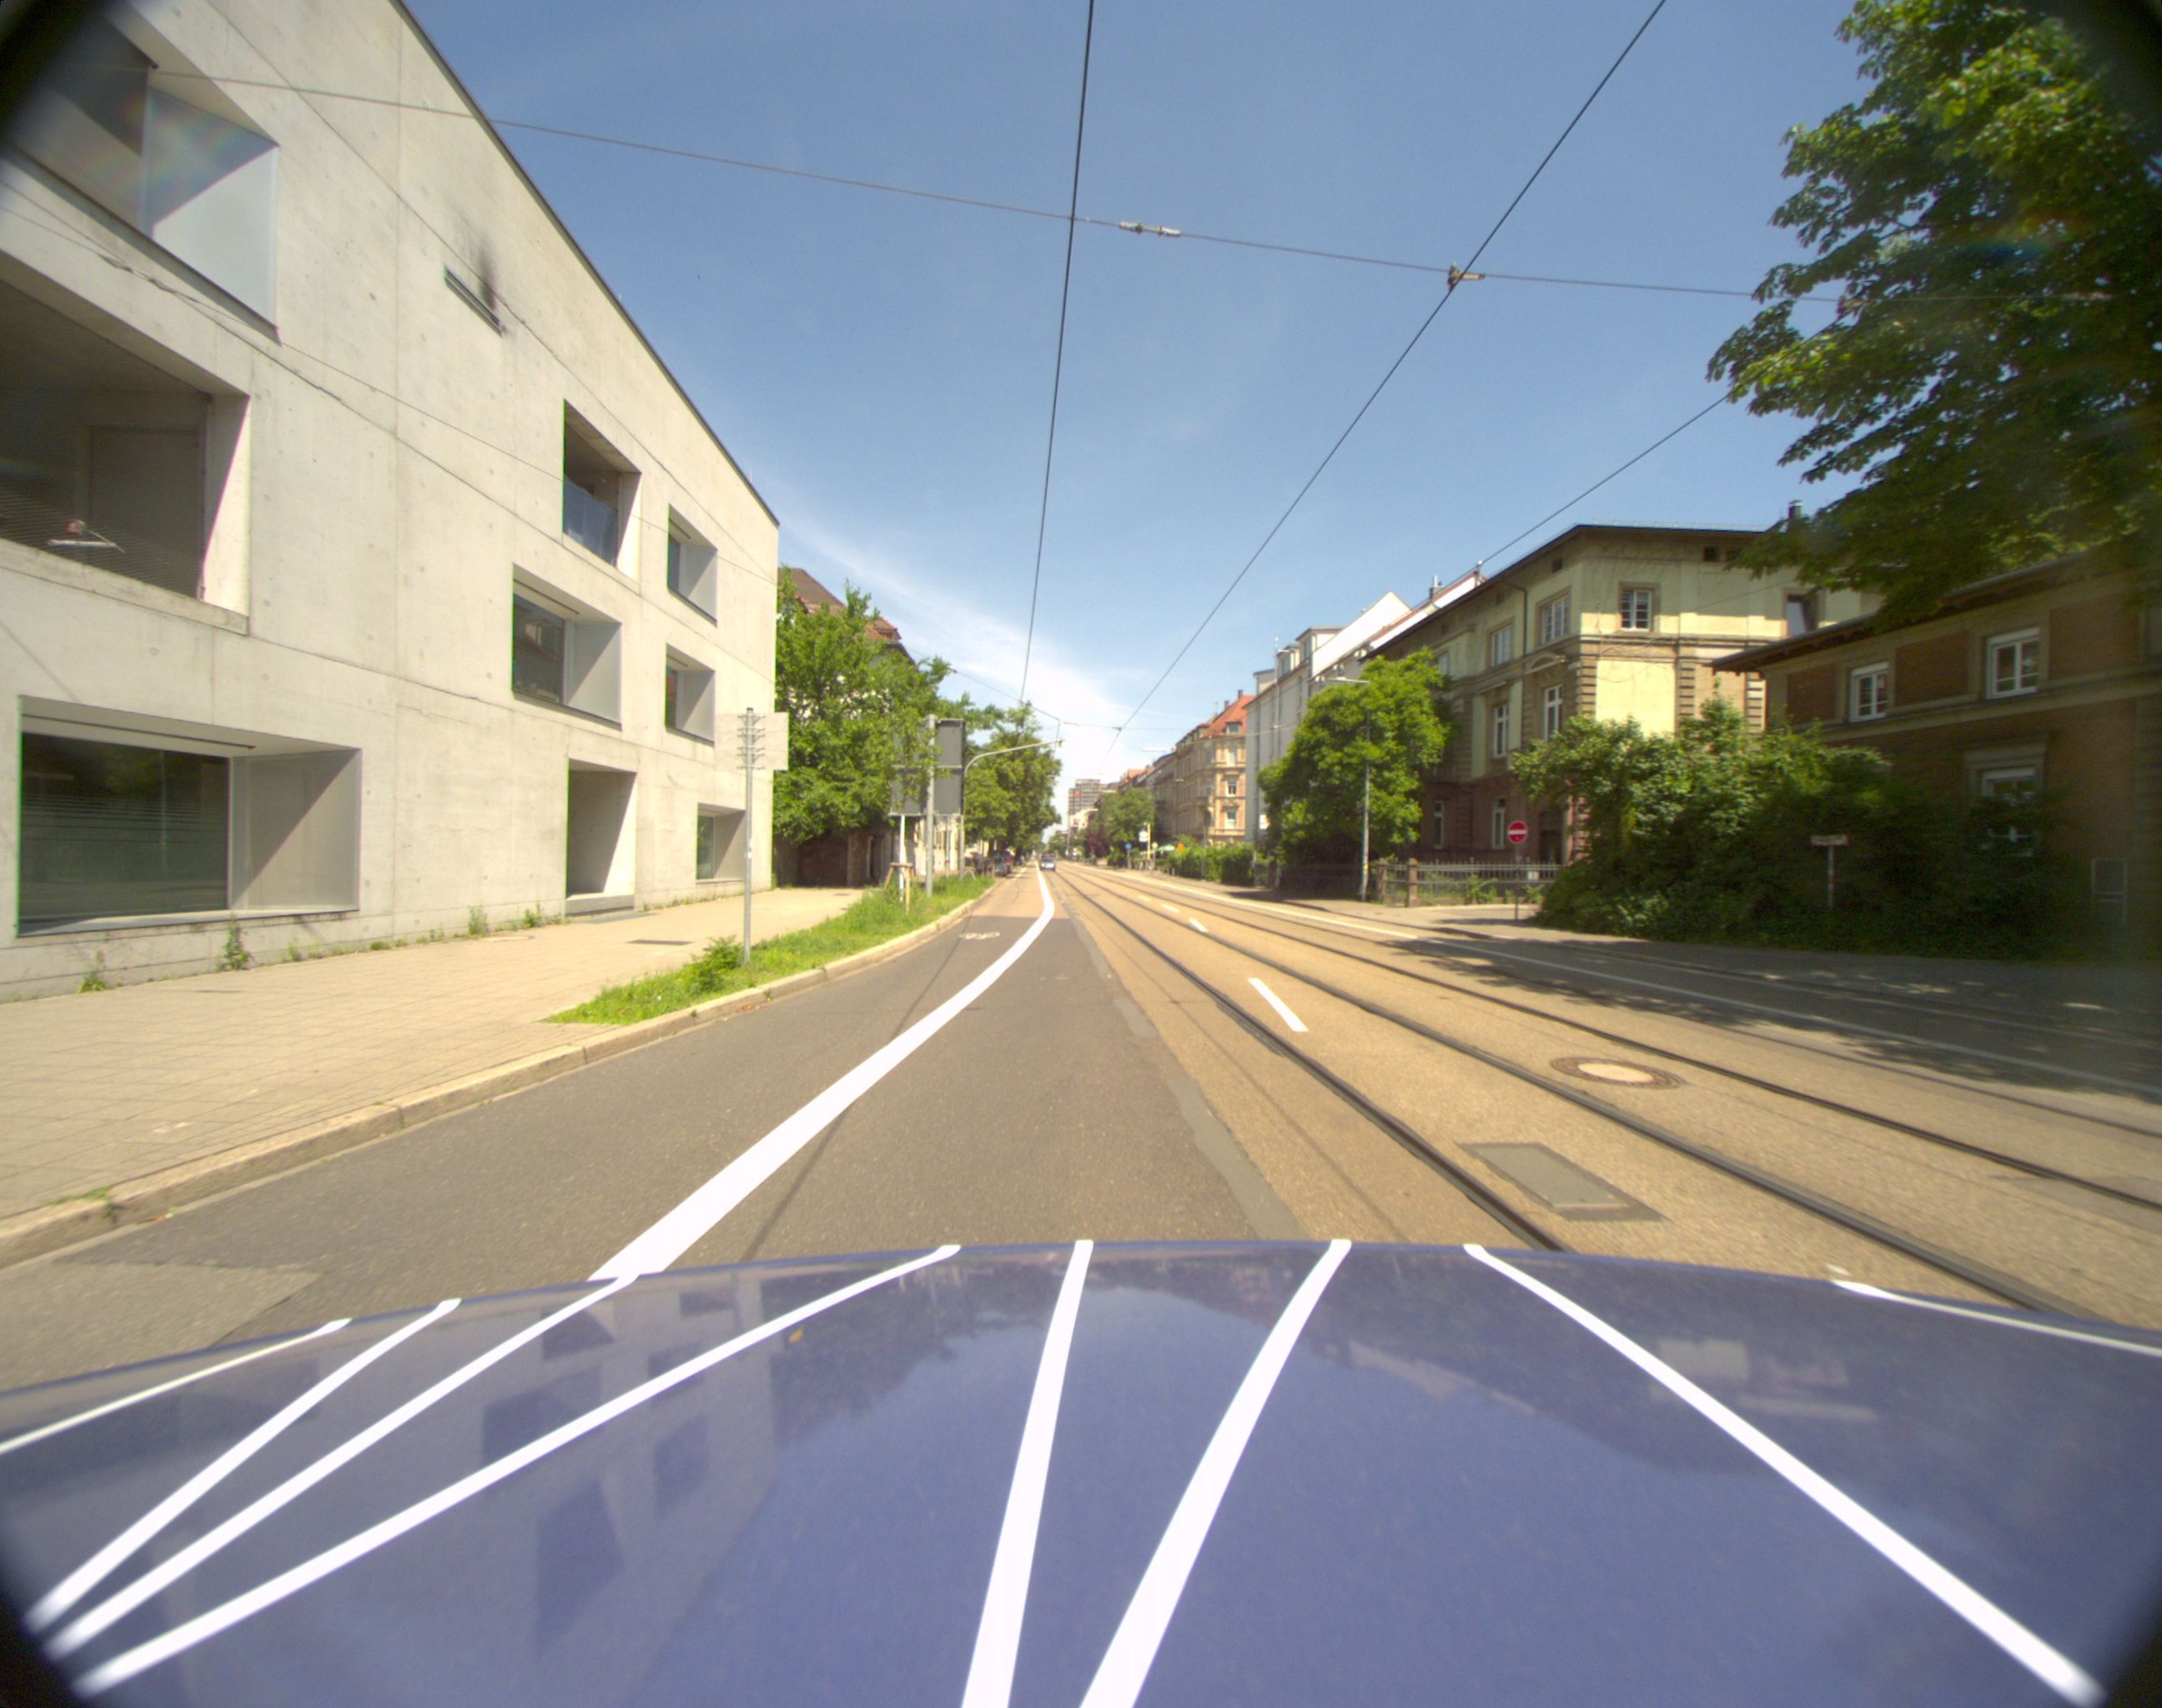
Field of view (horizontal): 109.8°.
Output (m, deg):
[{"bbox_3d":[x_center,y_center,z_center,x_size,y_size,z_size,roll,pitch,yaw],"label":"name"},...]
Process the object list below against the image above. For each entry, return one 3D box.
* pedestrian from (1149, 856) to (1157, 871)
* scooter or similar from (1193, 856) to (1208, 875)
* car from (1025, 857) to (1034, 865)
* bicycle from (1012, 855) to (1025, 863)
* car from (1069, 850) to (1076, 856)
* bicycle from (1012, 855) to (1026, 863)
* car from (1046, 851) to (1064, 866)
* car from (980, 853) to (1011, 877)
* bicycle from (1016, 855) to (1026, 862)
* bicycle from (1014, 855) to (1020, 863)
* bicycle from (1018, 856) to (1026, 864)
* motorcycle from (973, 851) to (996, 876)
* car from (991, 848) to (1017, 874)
[{"bbox_3d":[7.798,1.060,82.566,0.742,1.632,0.939,1,1,-1],"label":"pedestrian"},{"bbox_3d":[9.507,0.902,60.371,1.012,1.442,0.597,1,1,-3],"label":"scooter or similar"},{"bbox_3d":[-9.570,1.280,140.624,1.540,1.535,3.998,1,1,-3],"label":"car"},{"bbox_3d":[-9.633,0.730,117.050,2.038,1.193,0.445,1,1,6],"label":"bicycle"},{"bbox_3d":[-2.743,-0.424,239.063,1.999,1.716,3.870,2,0,-3],"label":"car"},{"bbox_3d":[-9.612,0.742,117.560,2.038,1.193,0.445,1,1,6],"label":"bicycle"},{"bbox_3d":[-2.868,0.464,82.404,1.894,1.561,4.035,1,1,-3],"label":"car"},{"bbox_3d":[-6.122,0.776,54.833,1.865,1.568,4.875,1,1,-3],"label":"car"},{"bbox_3d":[-10.008,0.700,126.514,1.623,1.193,0.305,1,2,-2],"label":"bicycle"},{"bbox_3d":[-9.439,0.763,111.909,0.284,1.193,1.625,0,1,-23],"label":"bicycle"},{"bbox_3d":[-8.655,0.867,112.159,1.170,1.057,0.279,1,2,0],"label":"bicycle"},{"bbox_3d":[-6.045,0.601,47.672,0.746,1.497,2.560,2,0,8],"label":"motorcycle"},{"bbox_3d":[-6.355,0.525,63.379,1.865,2.002,4.973,1,1,-2],"label":"car"}]
